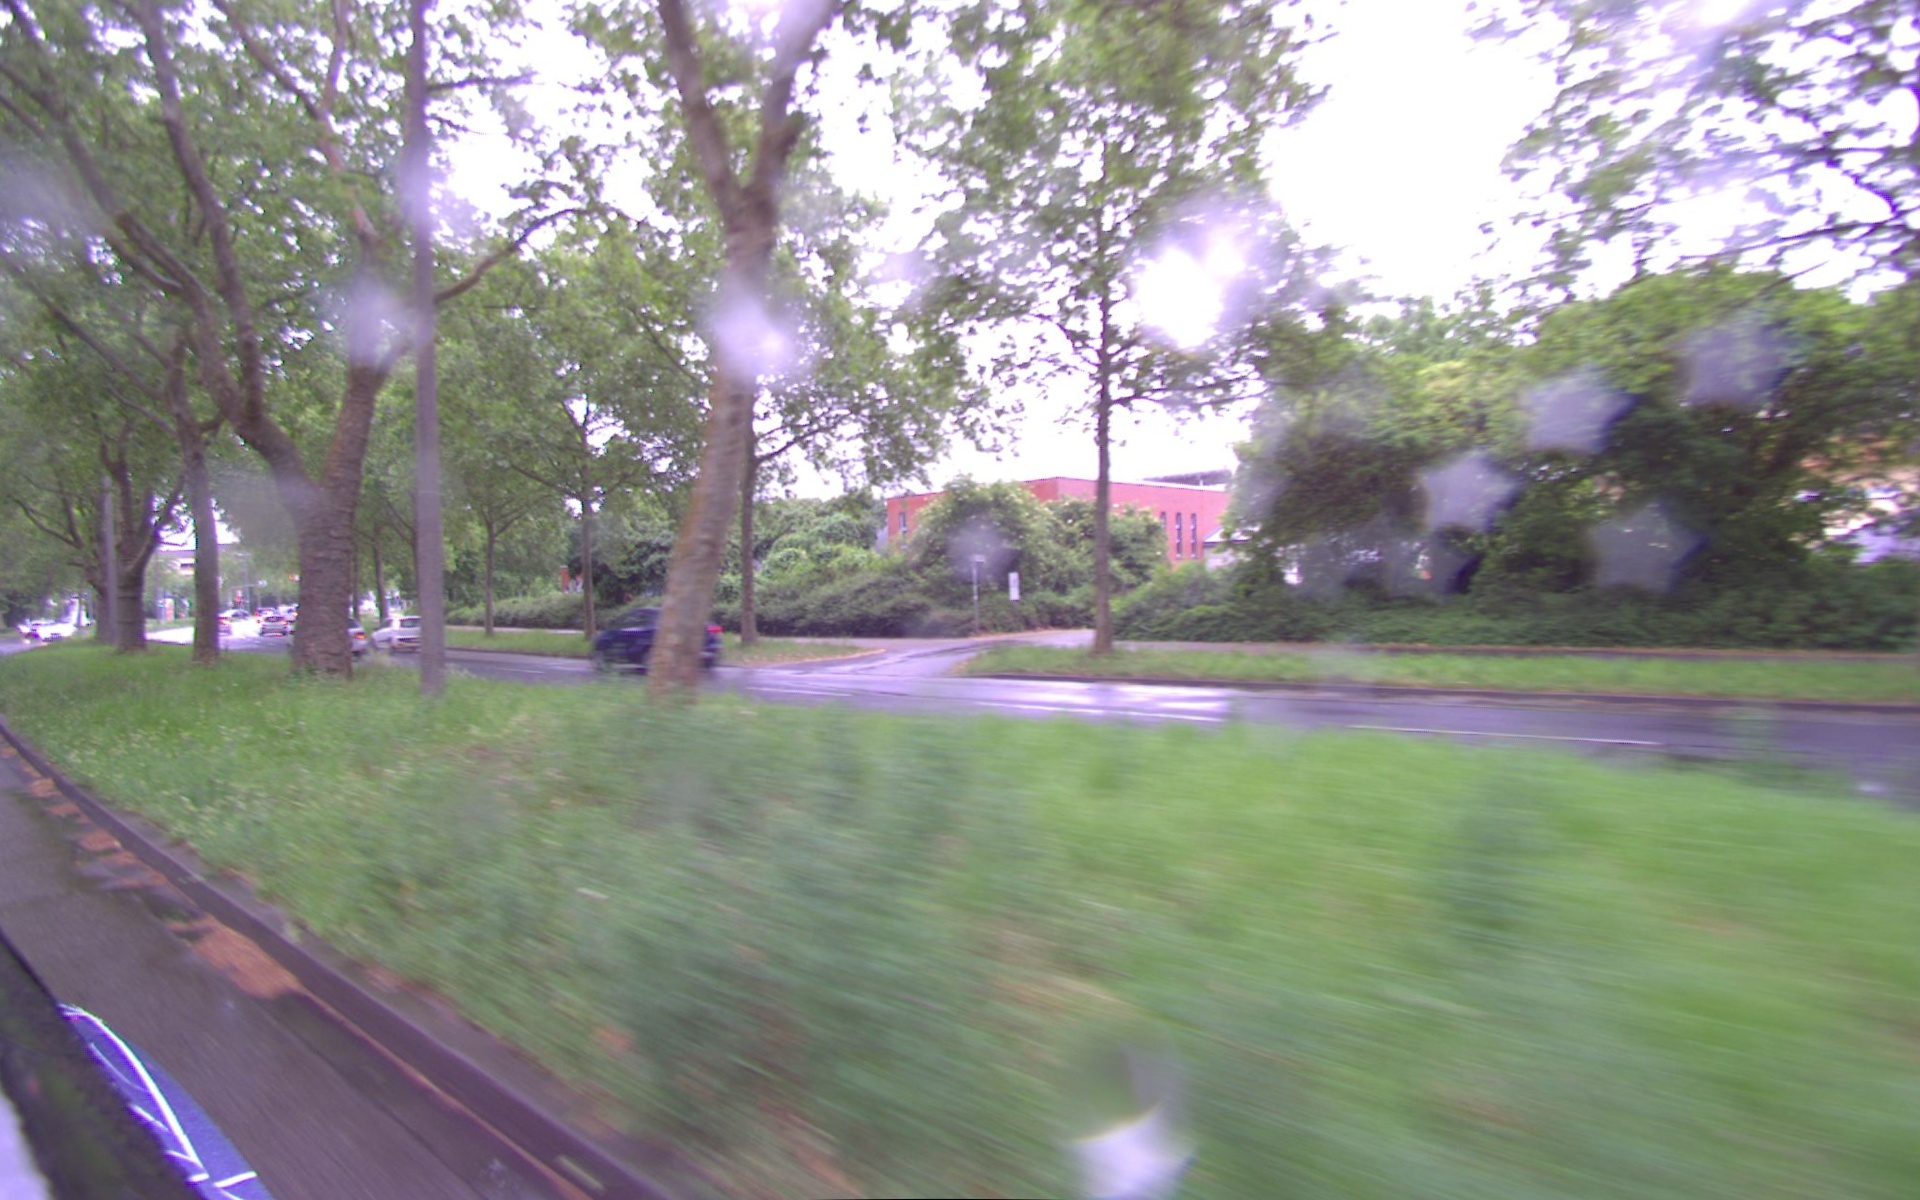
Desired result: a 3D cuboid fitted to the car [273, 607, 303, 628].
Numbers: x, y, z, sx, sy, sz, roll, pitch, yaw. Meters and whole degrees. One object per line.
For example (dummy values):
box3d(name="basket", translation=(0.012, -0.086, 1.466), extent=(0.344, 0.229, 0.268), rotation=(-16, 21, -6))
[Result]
box3d(name="car", translation=(-77.336, 1.989, 116.515), extent=(2.001, 2.243, 5.452), rotation=(-2, 0, -26))

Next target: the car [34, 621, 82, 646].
box3d(name="car", translation=(-65.088, 2.383, 73.107), extent=(1.967, 1.641, 4.534), rotation=(-3, 1, -34))

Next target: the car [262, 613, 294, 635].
box3d(name="car", translation=(-49.105, 1.720, 72.880), extent=(1.719, 1.470, 3.853), rotation=(-2, 0, -32))

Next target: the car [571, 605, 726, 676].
box3d(name="car", translation=(-8.013, 0.995, 25.839), extent=(4.205, 1.603, 1.726), rotation=(-1, 0, 40))

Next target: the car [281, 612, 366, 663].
box3d(name="car", translation=(-22.506, 1.282, 35.720), extent=(1.723, 1.603, 4.335), rotation=(-2, 0, -43))

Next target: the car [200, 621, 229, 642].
box3d(name="car", translation=(-56.610, 2.386, 76.822), extent=(1.721, 1.487, 4.420), rotation=(-2, 0, -37))

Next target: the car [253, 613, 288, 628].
box3d(name="car", translation=(-85.523, 2.500, 125.625), extent=(2.002, 1.749, 4.968), rotation=(-2, 0, -15))

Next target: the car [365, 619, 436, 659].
box3d(name="car", translation=(-22.752, 1.530, 41.071), extent=(1.722, 1.487, 4.089), rotation=(-2, 0, -41))
